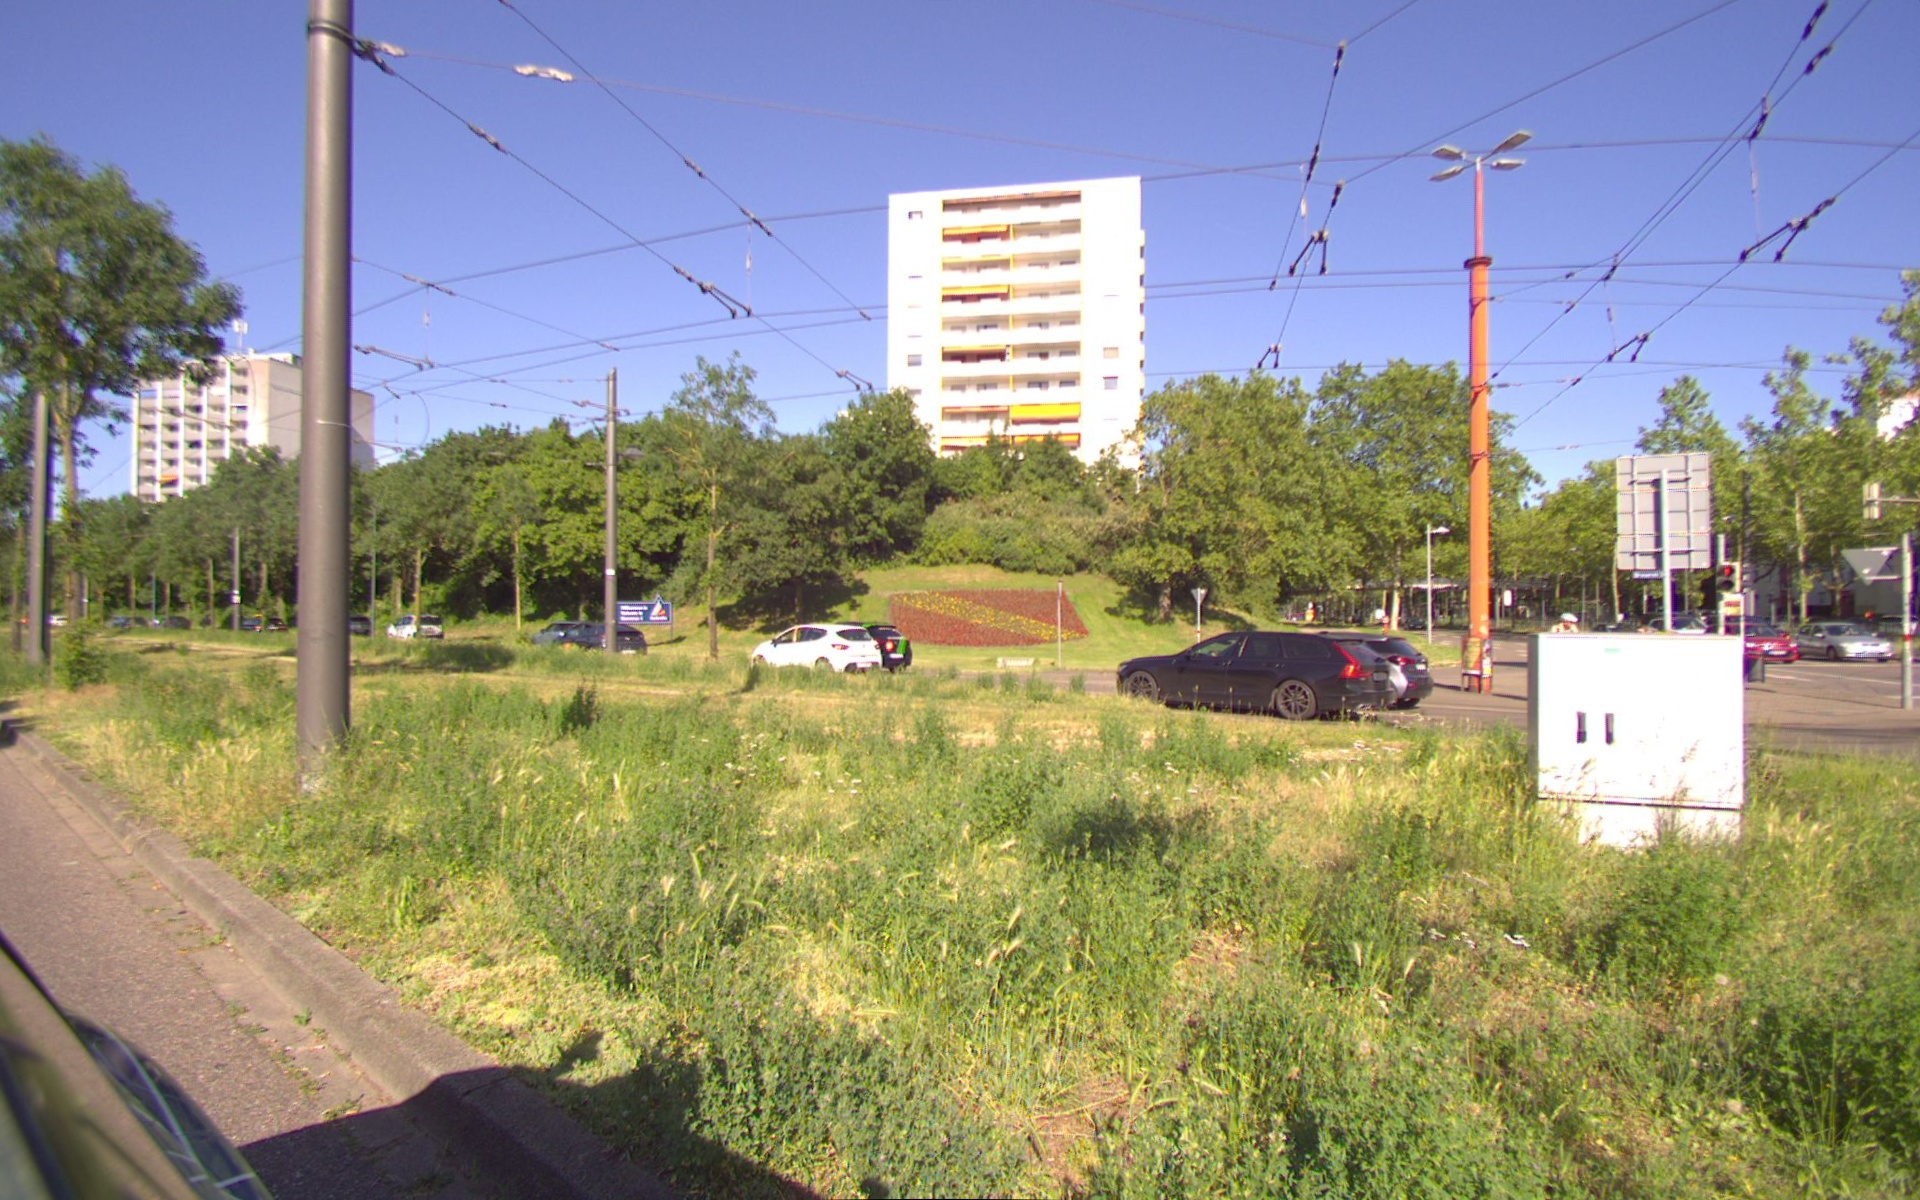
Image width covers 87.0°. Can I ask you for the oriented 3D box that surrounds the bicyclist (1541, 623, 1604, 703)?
[{"bbox_3d":[12.244,1.237,20.236,0.719,1.557,0.770,0,-2,-20],"label":"bicyclist"}]

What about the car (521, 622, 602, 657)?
[{"bbox_3d":[-16.783,1.623,42.552,4.001,1.386,1.717,-1,-2,44],"label":"car"}]

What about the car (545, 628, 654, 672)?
[{"bbox_3d":[-12.410,1.673,34.744,4.229,1.371,1.801,-1,-2,43],"label":"car"}]

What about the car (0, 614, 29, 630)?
[{"bbox_3d":[-110.238,2.577,117.991,3.994,1.779,1.860,-1,-2,38],"label":"car"}]

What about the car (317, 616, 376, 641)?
[{"bbox_3d":[-37.059,1.714,61.089,3.998,1.497,1.972,-1,-2,41],"label":"car"}]

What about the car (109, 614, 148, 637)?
[{"bbox_3d":[-67.296,2.041,81.893,3.998,1.779,1.858,-1,-2,41],"label":"car"}]

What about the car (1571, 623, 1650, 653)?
[{"bbox_3d":[31.755,1.835,49.526,1.747,1.360,4.347,-1,-1,11],"label":"car"}]

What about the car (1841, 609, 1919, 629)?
[{"bbox_3d":[65.875,1.374,72.384,1.770,1.420,4.010,1,-1,-36],"label":"car"}]

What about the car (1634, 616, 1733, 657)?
[{"bbox_3d":[30.586,1.521,42.937,1.810,1.648,4.236,0,-1,12],"label":"car"}]

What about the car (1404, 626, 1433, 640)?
[{"bbox_3d":[47.459,3.374,104.800,1.747,1.360,4.347,-1,-1,11],"label":"car"}]

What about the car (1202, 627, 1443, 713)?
[{"bbox_3d":[7.189,1.319,20.369,1.767,1.519,4.243,1,-2,-45],"label":"car"}]

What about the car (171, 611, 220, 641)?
[{"bbox_3d":[-53.231,1.805,70.463,3.998,2.029,1.973,-1,-2,41],"label":"car"}]

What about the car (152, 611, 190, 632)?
[{"bbox_3d":[-67.664,1.872,86.795,3.998,1.779,1.858,-1,-2,41],"label":"car"}]

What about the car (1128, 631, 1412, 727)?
[{"bbox_3d":[5.202,1.250,17.341,4.310,1.427,1.775,-1,-2,43],"label":"car"}]

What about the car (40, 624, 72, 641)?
[{"bbox_3d":[-88.616,3.173,99.190,3.998,1.674,1.885,-1,-2,41],"label":"car"}]

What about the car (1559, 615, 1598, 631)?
[{"bbox_3d":[79.773,2.987,130.608,3.969,2.029,1.987,-1,-1,20],"label":"car"}]

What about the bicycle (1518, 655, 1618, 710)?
[{"bbox_3d":[12.139,1.624,20.250,0.673,0.968,1.650,0,-1,-21],"label":"bicycle"}]

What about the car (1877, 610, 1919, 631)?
[{"bbox_3d":[64.887,1.396,68.402,1.770,1.420,4.010,1,-1,-36],"label":"car"}]

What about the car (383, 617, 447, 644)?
[{"bbox_3d":[-29.281,1.603,54.351,4.000,1.409,1.822,-1,-2,43],"label":"car"}]

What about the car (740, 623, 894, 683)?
[{"bbox_3d":[-3.748,1.316,26.143,4.000,1.429,1.842,-1,-2,43],"label":"car"}]

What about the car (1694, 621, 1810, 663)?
[{"bbox_3d":[28.847,1.509,37.032,1.668,1.446,4.049,-1,-1,12],"label":"car"}]

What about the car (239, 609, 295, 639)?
[{"bbox_3d":[-41.911,1.448,61.175,3.998,1.779,1.858,-1,-2,41],"label":"car"}]

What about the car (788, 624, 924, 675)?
[{"bbox_3d":[-3.150,1.437,30.287,3.998,1.429,1.843,-1,-2,41],"label":"car"}]

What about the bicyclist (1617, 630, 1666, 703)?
[{"bbox_3d":[13.325,1.279,19.790,0.435,1.391,0.631,0,-2,-20],"label":"bicyclist"}]

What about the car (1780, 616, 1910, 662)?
[{"bbox_3d":[32.184,1.394,36.975,1.841,1.557,4.241,-1,-1,15],"label":"car"}]
